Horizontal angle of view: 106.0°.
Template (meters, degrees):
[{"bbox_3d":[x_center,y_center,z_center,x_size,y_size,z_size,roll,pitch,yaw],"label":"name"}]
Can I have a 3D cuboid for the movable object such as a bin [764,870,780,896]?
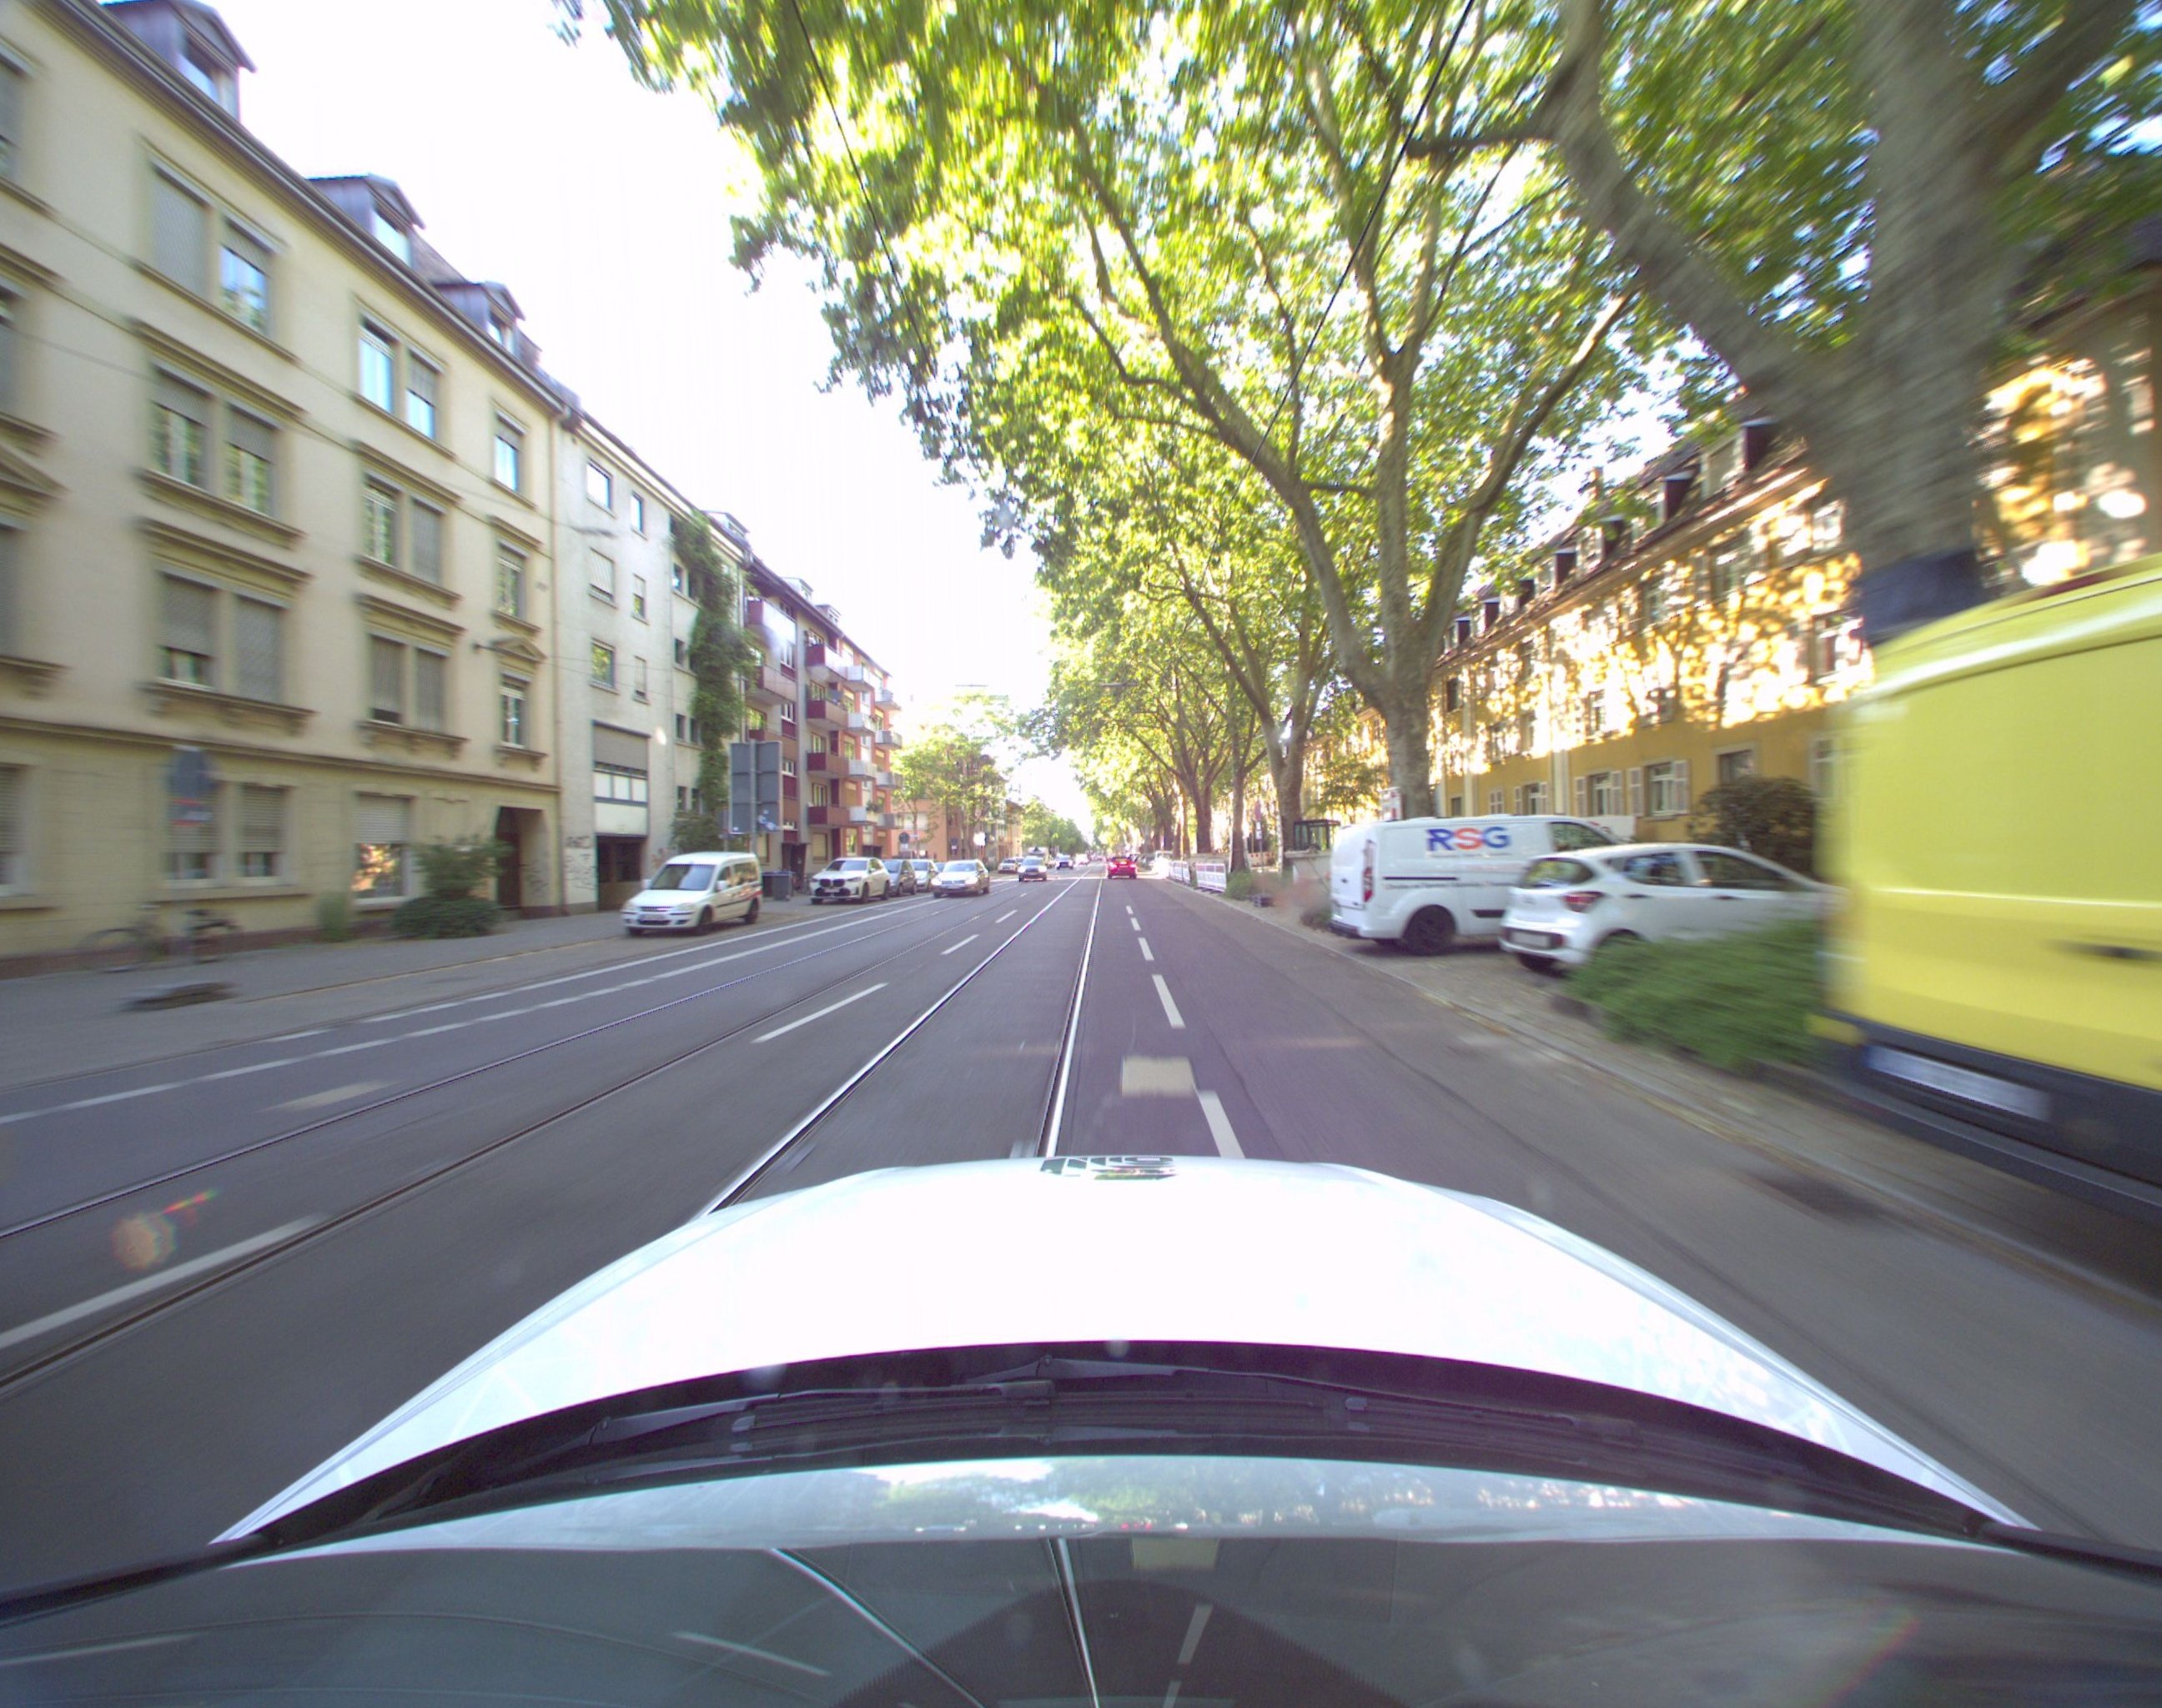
[{"bbox_3d":[-13.220,1.239,34.837,0.459,1.055,0.492,-1,0,1],"label":"movable object such as a bin"}]

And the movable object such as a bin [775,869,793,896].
[{"bbox_3d":[-12.702,1.223,34.845,0.576,1.100,0.498,-1,0,1],"label":"movable object such as a bin"}]

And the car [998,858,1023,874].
[{"bbox_3d":[-6.806,1.128,78.951,1.799,1.478,4.092,1,0,3],"label":"car"}]

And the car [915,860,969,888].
[{"bbox_3d":[-7.659,1.069,45.443,1.944,1.395,4.866,1,0,3],"label":"car"}]

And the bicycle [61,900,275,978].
[{"bbox_3d":[-13.995,1.264,12.595,0.642,0.971,2.145,0,0,12],"label":"bicycle"}]

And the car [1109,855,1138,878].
[{"bbox_3d":[2.686,0.748,51.926,1.785,1.389,4.239,0,0,2],"label":"car"}]

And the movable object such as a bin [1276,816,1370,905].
[{"bbox_3d":[6.761,0.149,22.565,1.467,2.269,3.298,-2,0,35],"label":"movable object such as a bin"}]

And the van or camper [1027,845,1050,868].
[{"bbox_3d":[-5.786,0.348,111.456,2.328,3.041,6.401,2,0,3],"label":"van or camper"}]

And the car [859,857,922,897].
[{"bbox_3d":[-8.170,0.960,35.283,1.619,1.572,3.784,-2,-1,3],"label":"car"}]

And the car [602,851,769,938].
[{"bbox_3d":[-8.948,0.819,18.912,1.783,1.771,4.468,0,0,-1],"label":"car"}]

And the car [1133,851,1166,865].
[{"bbox_3d":[9.450,0.583,112.624,4.474,1.602,2.030,-3,-1,5],"label":"car"}]

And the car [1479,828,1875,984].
[{"bbox_3d":[6.631,0.537,9.336,3.293,1.539,1.697,-2,0,0],"label":"car"}]

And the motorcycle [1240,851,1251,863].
[{"bbox_3d":[16.031,0.323,79.354,0.712,1.153,2.265,-2,0,2],"label":"motorcycle"}]

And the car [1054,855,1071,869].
[{"bbox_3d":[-2.184,0.927,96.083,1.847,1.600,4.463,1,0,0],"label":"car"}]

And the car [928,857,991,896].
[{"bbox_3d":[-4.907,0.904,33.550,1.789,1.446,4.717,-1,-1,1],"label":"car"}]

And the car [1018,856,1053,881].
[{"bbox_3d":[-2.872,0.874,51.817,1.789,1.446,4.055,-3,0,2],"label":"car"}]

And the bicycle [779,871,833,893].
[{"bbox_3d":[-12.881,1.300,38.159,2.283,0.993,0.698,0,0,-2],"label":"bicycle"}]

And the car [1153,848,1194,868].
[{"bbox_3d":[8.841,0.399,77.856,3.825,1.772,1.919,-2,0,5],"label":"car"}]

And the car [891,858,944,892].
[{"bbox_3d":[-8.034,0.985,40.335,1.813,1.587,4.004,0,0,0],"label":"car"}]

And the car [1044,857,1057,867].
[{"bbox_3d":[-5.026,1.295,134.659,1.830,1.468,5.068,1,0,0],"label":"car"}]

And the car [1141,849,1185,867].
[{"bbox_3d":[9.361,0.448,93.348,4.822,1.963,2.064,-2,0,-1],"label":"car"}]

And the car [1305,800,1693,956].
[{"bbox_3d":[6.113,0.327,12.405,4.817,2.013,2.064,-2,0,1],"label":"car"}]

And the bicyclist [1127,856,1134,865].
[{"bbox_3d":[9.116,1.166,148.838,1.045,1.705,1.055,-2,0,-8],"label":"bicyclist"}]

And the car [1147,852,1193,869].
[{"bbox_3d":[8.706,0.627,79.884,4.349,1.542,1.804,-2,0,5],"label":"car"}]

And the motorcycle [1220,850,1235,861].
[{"bbox_3d":[19.826,0.211,109.937,1.798,1.361,0.622,-5,0,-1],"label":"motorcycle"}]

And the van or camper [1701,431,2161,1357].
[{"bbox_3d":[6.059,0.042,2.817,5.900,2.629,2.272,-2,-1,3],"label":"van or camper"}]

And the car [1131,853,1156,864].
[{"bbox_3d":[10.094,0.743,132.631,3.911,1.670,1.960,-2,0,-1],"label":"car"}]

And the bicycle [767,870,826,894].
[{"bbox_3d":[-12.922,1.277,37.009,2.444,1.062,0.698,0,0,-2],"label":"bicycle"}]

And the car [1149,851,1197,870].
[{"bbox_3d":[8.291,0.599,73.582,4.074,1.521,1.916,-2,-1,0],"label":"car"}]

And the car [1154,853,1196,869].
[{"bbox_3d":[8.724,0.656,75.893,3.825,1.433,1.854,-2,0,5],"label":"car"}]

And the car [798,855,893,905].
[{"bbox_3d":[-8.440,0.896,29.671,1.945,1.648,4.882,0,-1,1],"label":"car"}]

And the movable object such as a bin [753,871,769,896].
[{"bbox_3d":[-13.684,1.270,34.819,0.459,1.055,0.492,-1,0,1],"label":"movable object such as a bin"}]

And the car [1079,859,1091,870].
[{"bbox_3d":[0.750,1.889,144.995,1.885,1.832,4.897,-2,0,1],"label":"car"}]
